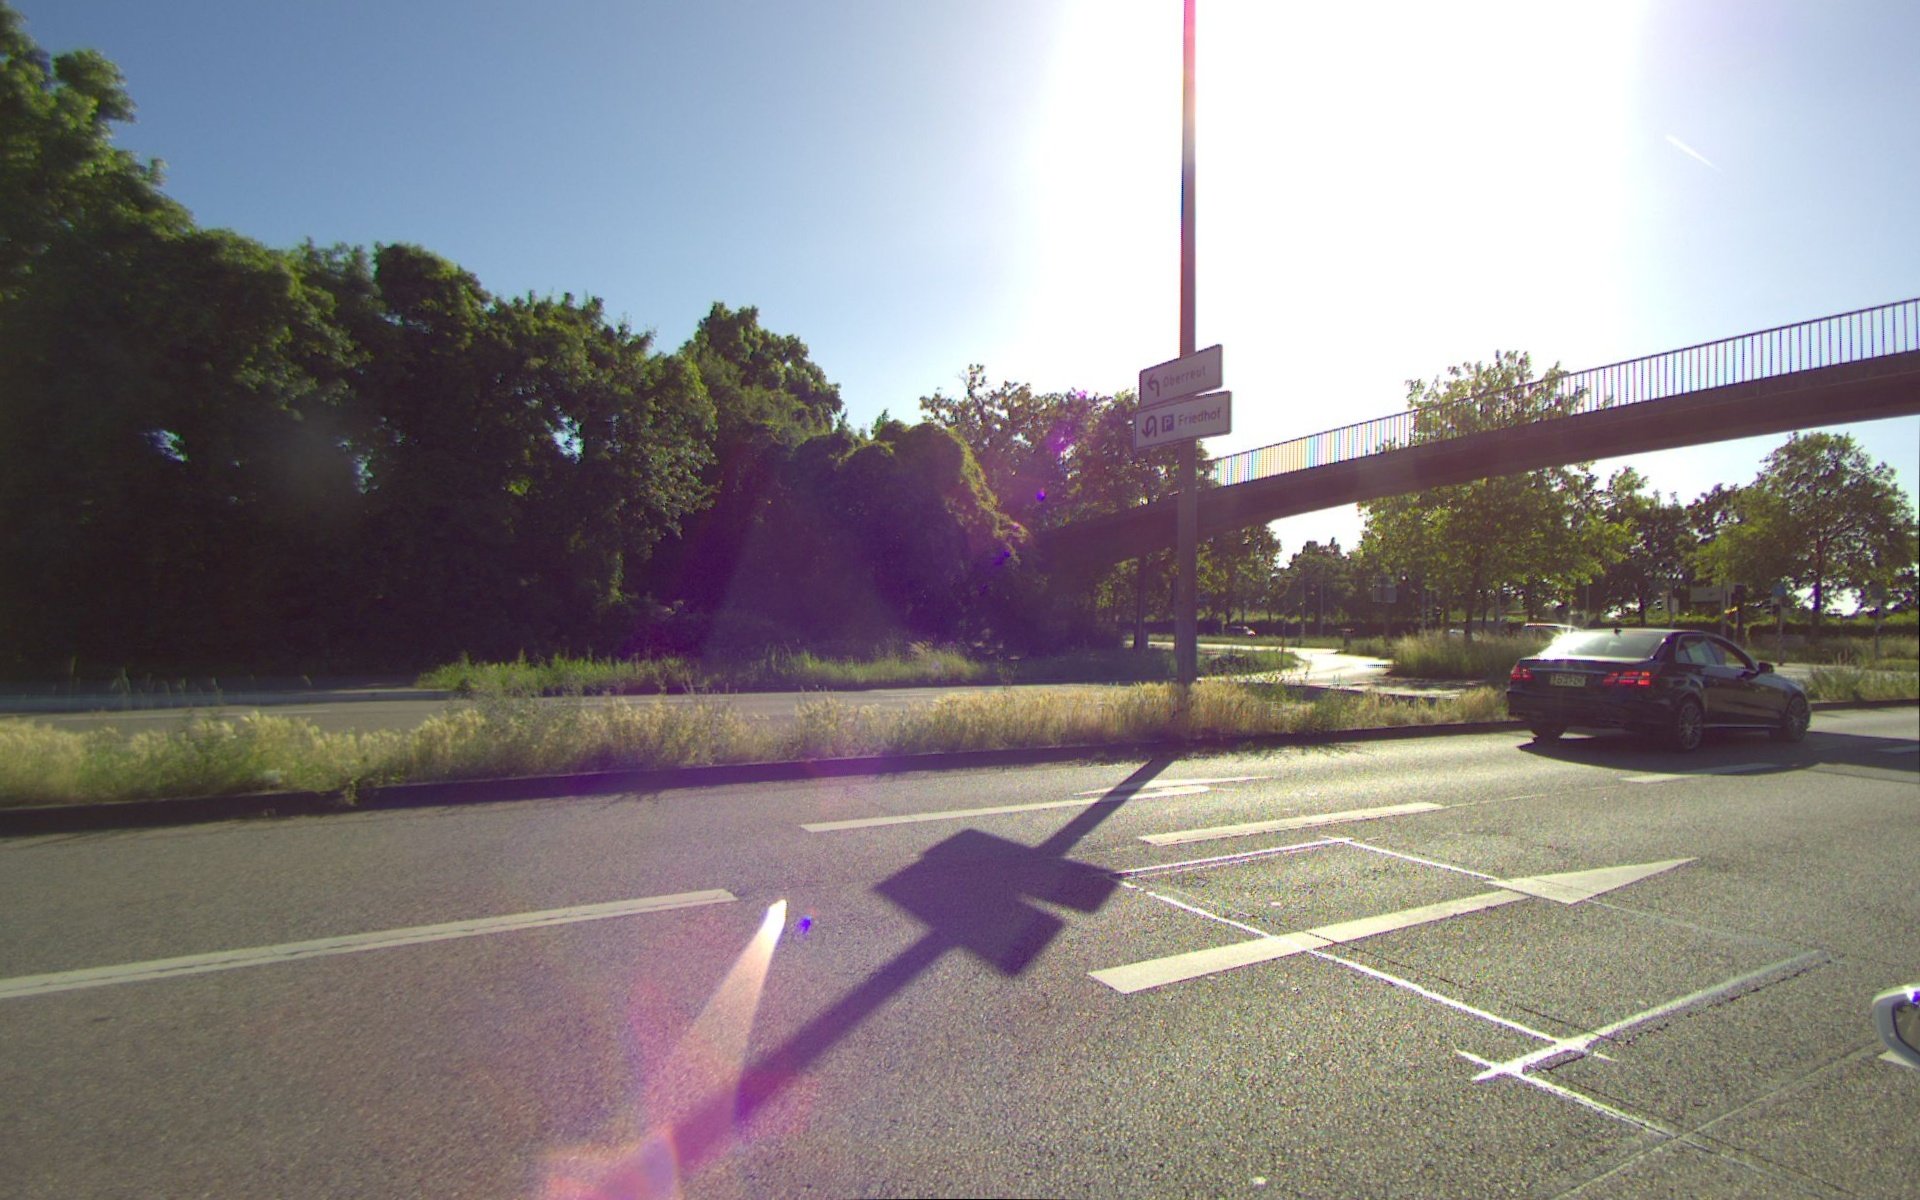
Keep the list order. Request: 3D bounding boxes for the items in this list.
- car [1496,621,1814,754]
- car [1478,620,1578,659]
[{"bbox_3d":[9.328,1.075,13.392,4.476,1.506,1.766,2,-1,-30],"label":"car"},{"bbox_3d":[28.281,1.939,50.132,1.756,1.778,3.969,2,0,-29],"label":"car"}]
